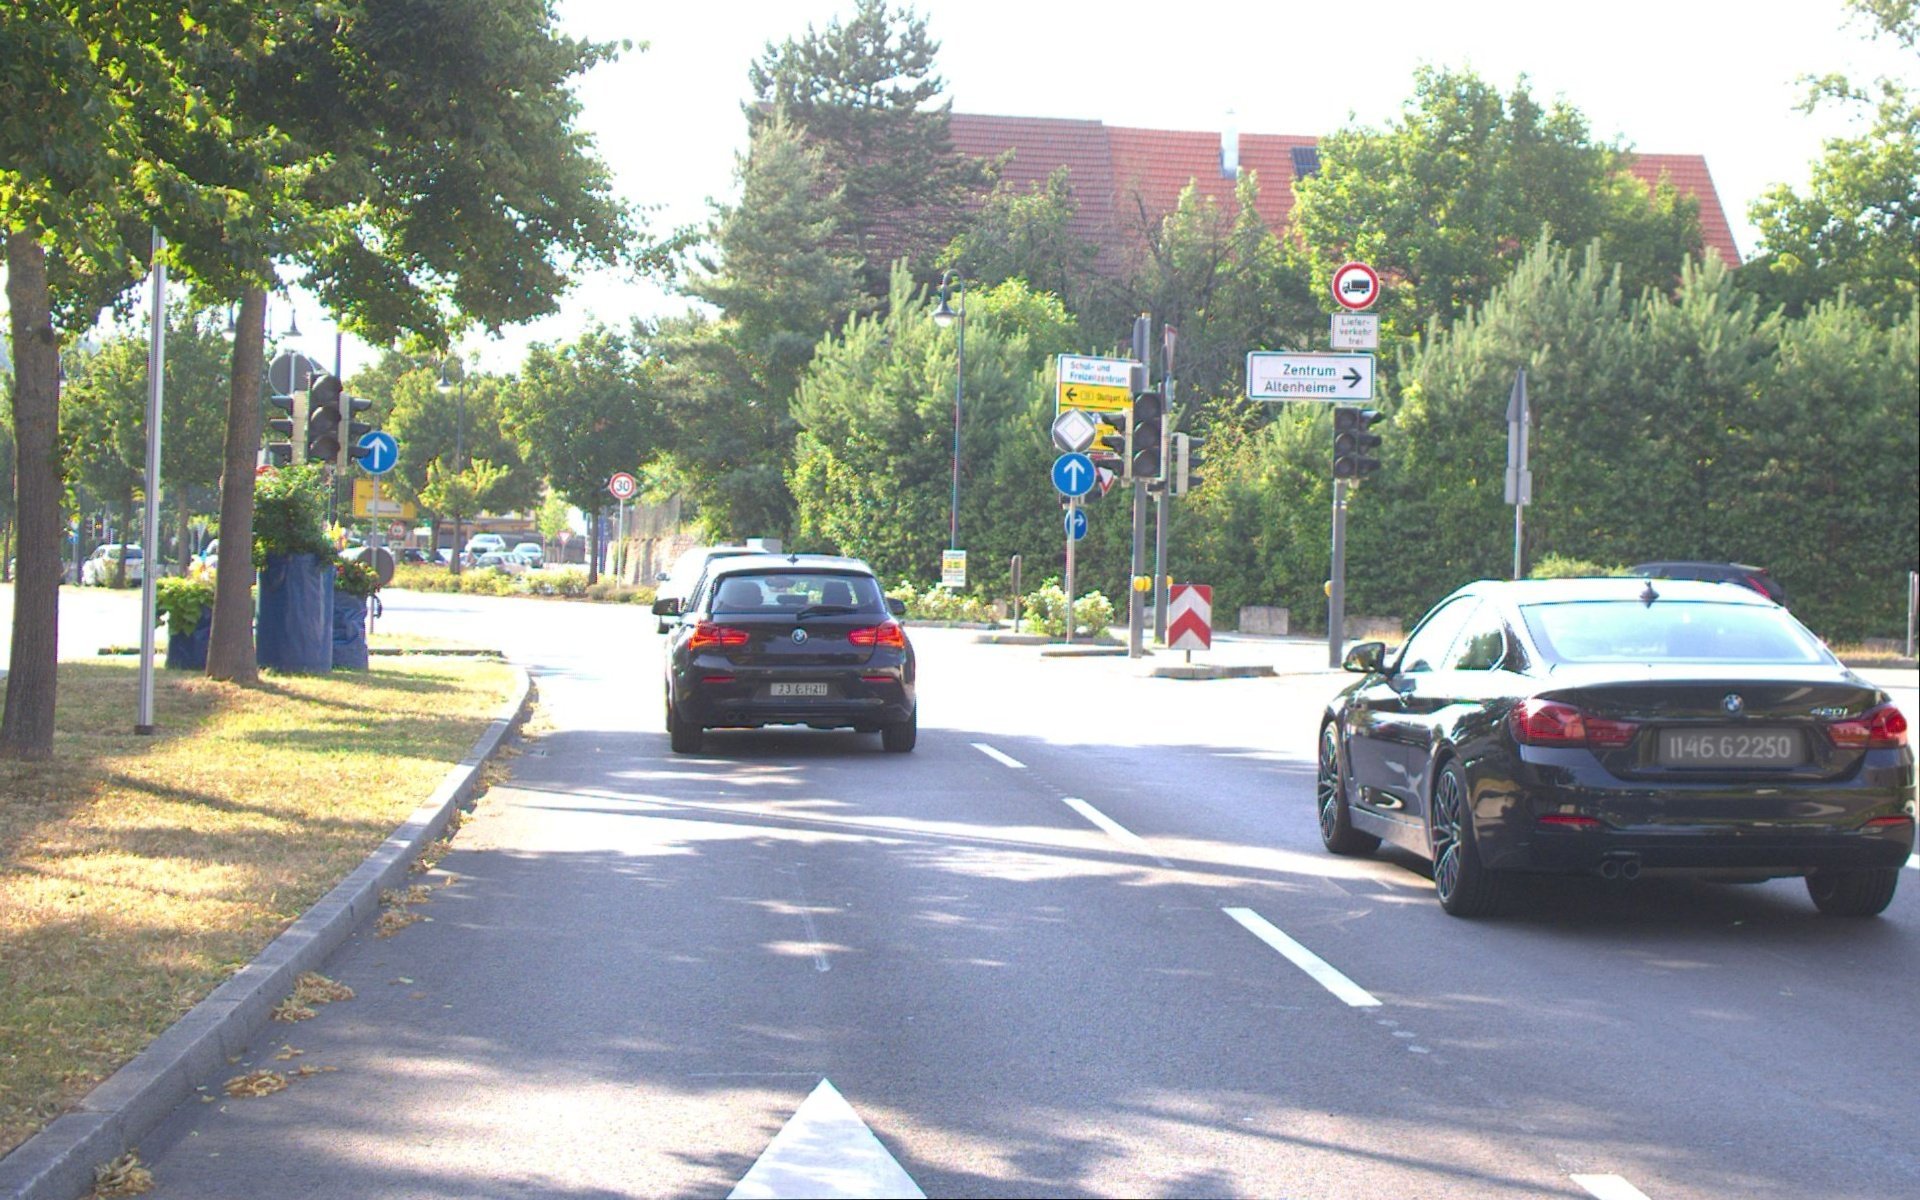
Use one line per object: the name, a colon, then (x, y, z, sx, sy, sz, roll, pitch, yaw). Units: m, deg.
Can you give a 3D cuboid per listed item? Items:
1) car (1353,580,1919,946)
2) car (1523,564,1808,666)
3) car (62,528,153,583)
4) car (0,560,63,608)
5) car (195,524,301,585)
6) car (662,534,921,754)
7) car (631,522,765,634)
car: (2.944, 0.603, 15.158, 1.920, 1.359, 4.353, 1, 0, 0)
car: (11.680, 0.221, 56.936, 4.264, 1.561, 1.790, 1, 1, 29)
car: (-28.263, -1.470, 113.917, 2.216, 1.763, 4.455, 0, 1, -23)
car: (-35.497, -0.621, 130.373, 2.216, 1.763, 4.455, 0, 1, -23)
car: (-21.260, -1.368, 102.508, 2.216, 1.763, 4.455, 0, 1, -23)
car: (-1.191, 0.282, 25.959, 1.721, 1.485, 4.353, 1, 1, 0)
car: (-4.400, -0.386, 57.184, 1.924, 1.763, 4.455, 1, 1, -8)
